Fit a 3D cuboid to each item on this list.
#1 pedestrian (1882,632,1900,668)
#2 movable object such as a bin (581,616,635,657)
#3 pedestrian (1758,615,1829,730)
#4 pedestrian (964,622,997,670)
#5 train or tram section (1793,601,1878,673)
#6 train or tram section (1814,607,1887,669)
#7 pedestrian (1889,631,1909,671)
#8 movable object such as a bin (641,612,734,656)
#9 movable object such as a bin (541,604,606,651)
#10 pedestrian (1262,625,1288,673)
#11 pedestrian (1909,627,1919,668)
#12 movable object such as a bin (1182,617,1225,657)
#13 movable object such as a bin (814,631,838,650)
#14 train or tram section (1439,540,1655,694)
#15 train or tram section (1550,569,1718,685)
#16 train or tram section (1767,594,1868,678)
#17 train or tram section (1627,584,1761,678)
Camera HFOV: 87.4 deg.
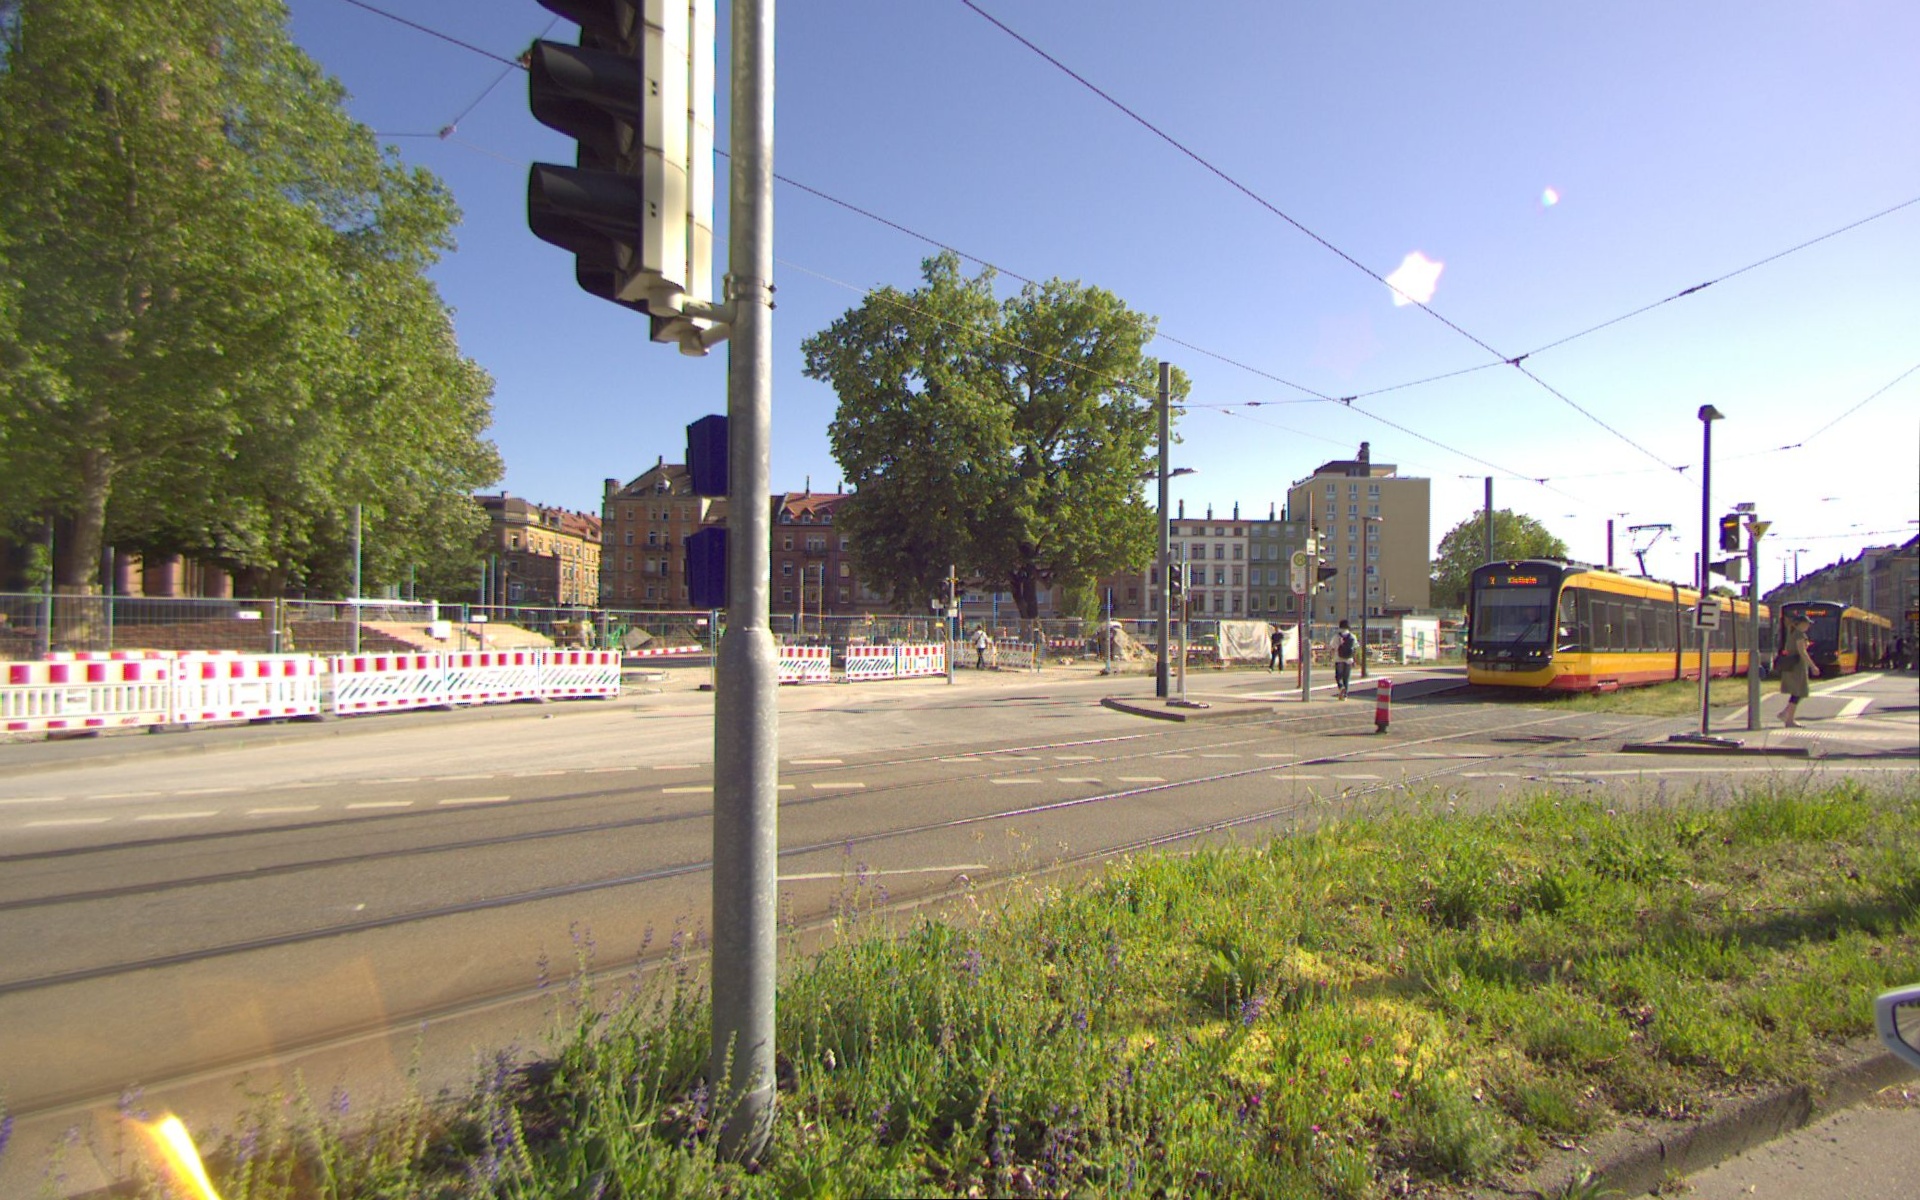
[{"bbox_3d":[49.802,2.692,53.743,0.625,1.881,0.699,1,-1,40],"label":"pedestrian"},{"bbox_3d":[-22.220,2.285,63.568,1.857,2.377,4.230,2,-1,-1],"label":"movable object such as a bin"},{"bbox_3d":[14.158,1.200,17.085,0.888,1.875,0.761,0,0,38],"label":"pedestrian"},{"bbox_3d":[0.774,1.746,38.430,0.855,1.791,0.965,2,-2,-31],"label":"pedestrian"},{"bbox_3d":[47.891,2.018,54.794,2.842,3.554,10.477,0,-2,45],"label":"train or tram section"},{"bbox_3d":[55.328,2.339,62.284,2.842,3.554,10.477,0,-2,45],"label":"train or tram section"},{"bbox_3d":[45.508,2.469,48.675,0.788,1.881,0.599,3,-1,-42],"label":"pedestrian"},{"bbox_3d":[-19.265,2.390,71.278,5.969,2.795,1.893,3,-1,-4],"label":"movable object such as a bin"},{"bbox_3d":[-28.658,2.028,74.662,3.061,3.214,5.243,3,-1,-6],"label":"movable object such as a bin"},{"bbox_3d":[12.036,1.863,38.424,0.660,1.791,0.795,-1,-2,44],"label":"pedestrian"},{"bbox_3d":[45.085,2.238,47.101,0.838,1.908,0.756,1,-1,44],"label":"pedestrian"},{"bbox_3d":[18.288,2.725,75.517,1.799,2.833,3.997,2,-1,-6],"label":"movable object such as a bin"},{"bbox_3d":[-12.803,3.856,96.054,1.716,1.702,3.802,0,-1,1],"label":"movable object such as a bin"},{"bbox_3d":[16.605,0.576,27.938,2.788,3.554,10.415,-1,-2,44],"label":"train or tram section"},{"bbox_3d":[23.907,0.973,35.293,10.542,3.554,2.788,2,-1,-45],"label":"train or tram section"},{"bbox_3d":[40.513,1.716,47.299,2.842,3.554,10.477,0,-2,45],"label":"train or tram section"},{"bbox_3d":[31.489,1.350,42.824,11.137,3.554,2.788,2,-1,-45],"label":"train or tram section"}]
